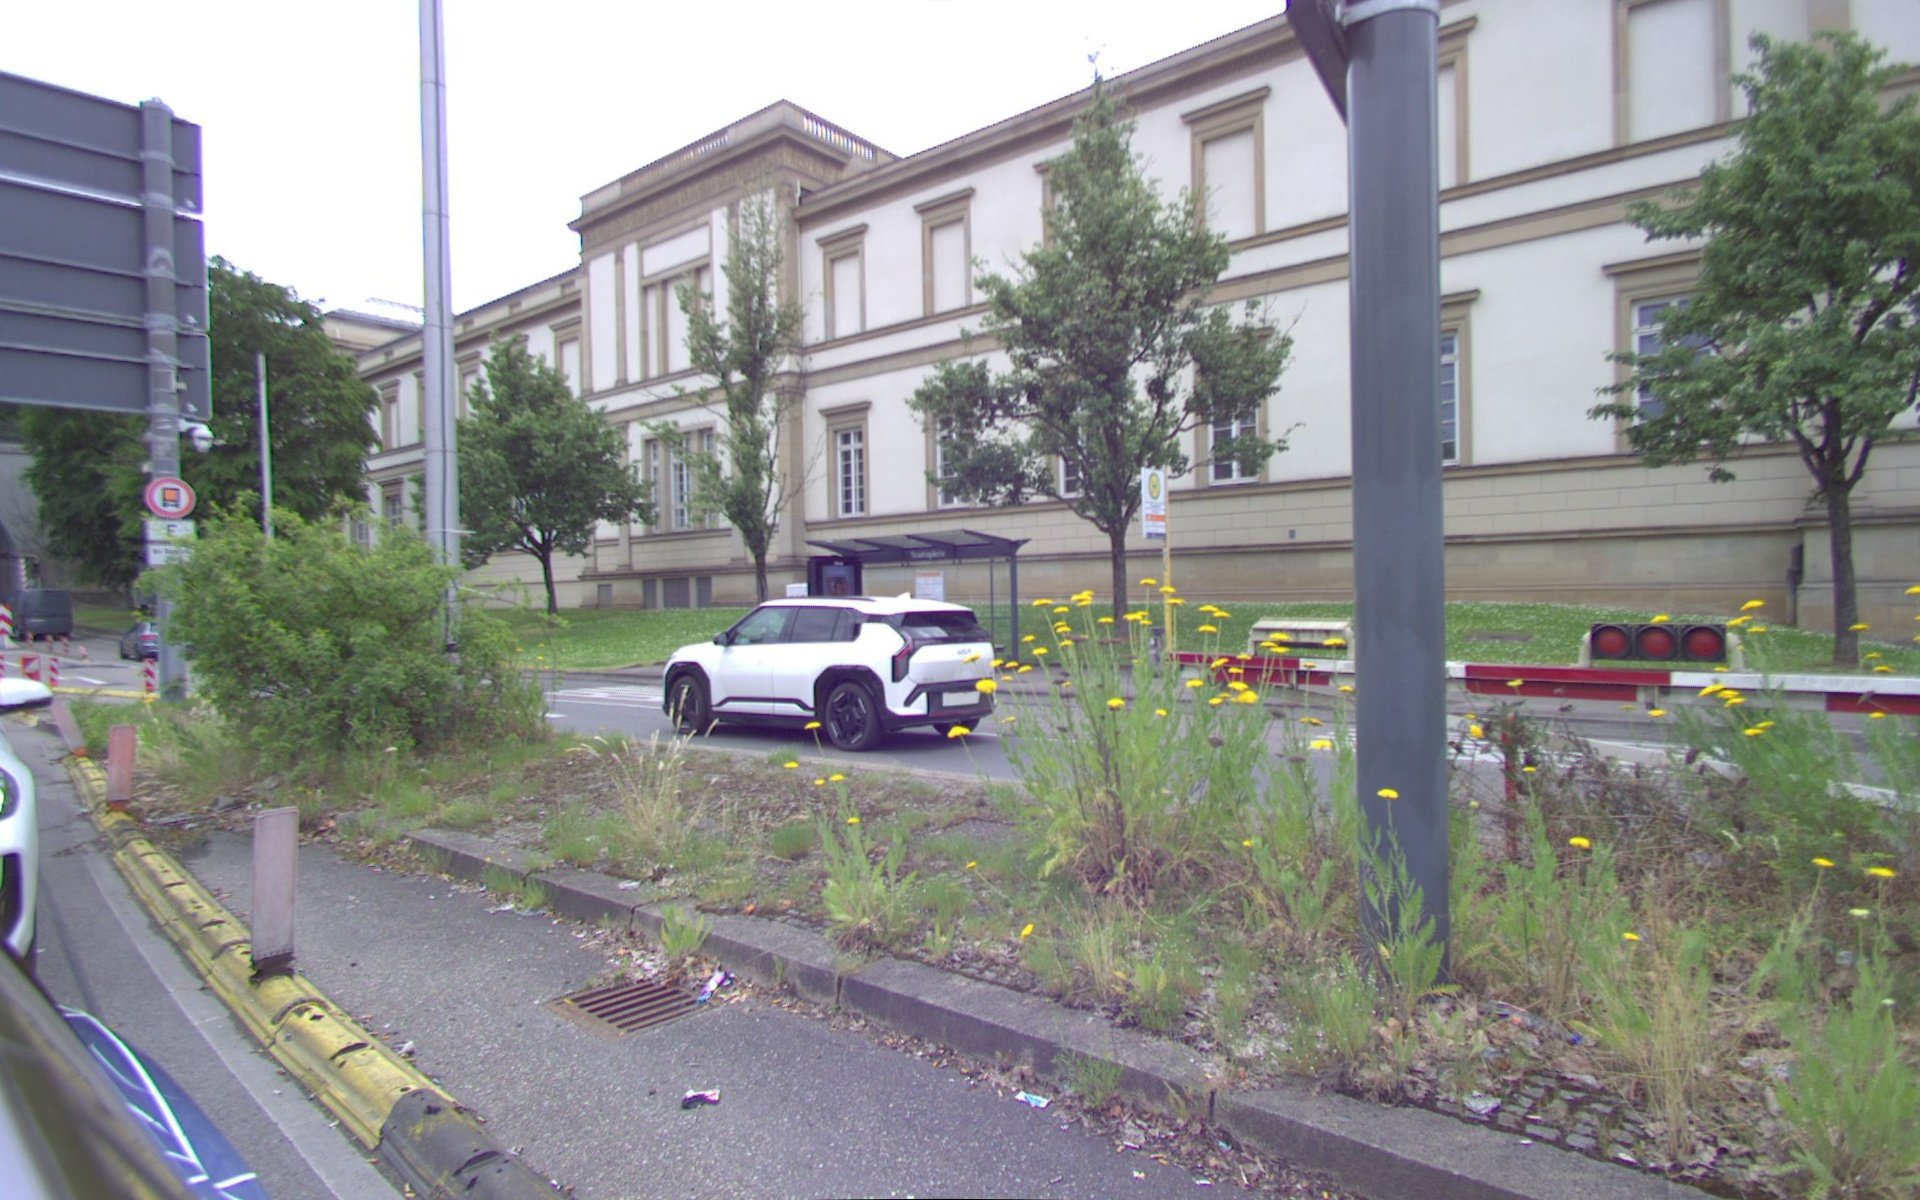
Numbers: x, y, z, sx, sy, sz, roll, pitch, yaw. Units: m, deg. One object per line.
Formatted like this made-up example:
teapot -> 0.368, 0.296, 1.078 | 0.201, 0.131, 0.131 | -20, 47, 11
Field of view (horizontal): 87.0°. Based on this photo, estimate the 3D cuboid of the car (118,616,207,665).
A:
car -> -28.615, 1.413, 36.293 | 3.800, 1.630, 1.756 | -1, 0, 40

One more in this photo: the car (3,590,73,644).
car -> -45.541, 0.821, 49.954 | 4.758, 2.527, 2.174 | -1, 0, 43

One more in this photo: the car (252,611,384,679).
car -> -15.482, 1.053, 24.360 | 3.570, 1.489, 1.626 | -1, -1, 39

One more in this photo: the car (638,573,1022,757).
car -> -1.576, 0.615, 11.416 | 4.262, 1.704, 1.852 | -1, 0, 38

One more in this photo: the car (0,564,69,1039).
car -> -5.215, 0.719, 4.091 | 3.669, 1.637, 1.962 | -1, 0, 41
